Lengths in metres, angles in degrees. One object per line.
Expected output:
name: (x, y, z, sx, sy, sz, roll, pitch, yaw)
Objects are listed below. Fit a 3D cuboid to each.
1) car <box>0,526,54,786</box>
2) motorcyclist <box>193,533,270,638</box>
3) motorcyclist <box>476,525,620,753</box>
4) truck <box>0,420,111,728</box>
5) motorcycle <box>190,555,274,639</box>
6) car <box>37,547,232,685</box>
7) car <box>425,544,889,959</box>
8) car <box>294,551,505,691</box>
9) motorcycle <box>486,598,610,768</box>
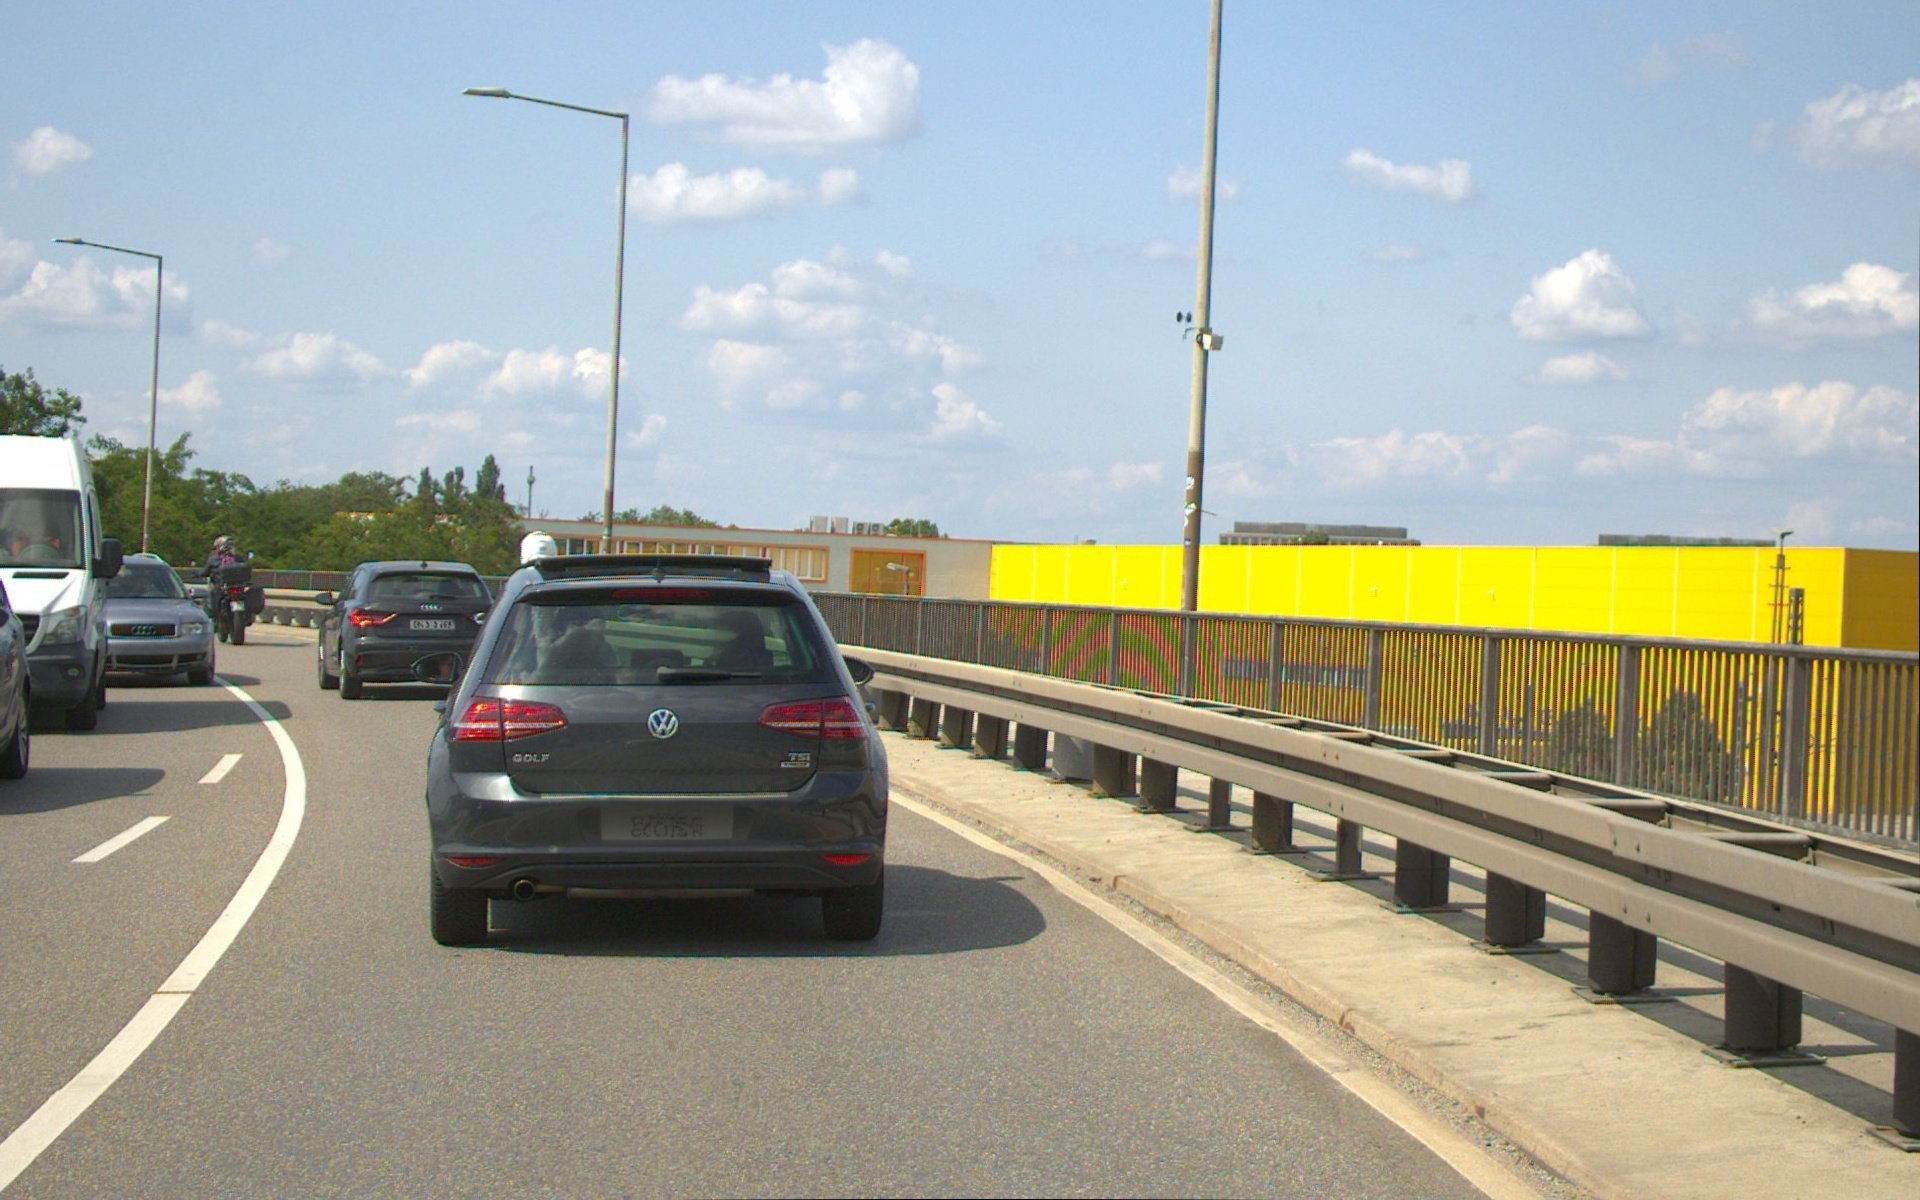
car: (-6.841, 0.351, 21.323, 1.717, 1.626, 4.429, 0, 1, -6)
motorcyclist: (-11.263, -0.231, 53.145, 0.965, 1.590, 1.125, 1, 1, -21)
motorcyclist: (-3.028, 0.275, 25.185, 0.965, 1.615, 1.125, 1, 1, -9)
truck: (-8.645, -0.263, 30.739, 1.993, 2.499, 5.949, 0, 1, -14)
motorcycle: (-11.258, -0.060, 53.102, 0.887, 1.243, 2.400, 1, 1, -21)
car: (-9.457, 0.143, 39.177, 1.766, 1.455, 4.299, -1, 1, -19)
car: (-1.221, 0.535, 14.311, 1.642, 1.474, 3.873, 1, 0, -4)
car: (-5.939, 0.220, 36.132, 1.681, 1.383, 3.740, 0, 0, -17)
motorcycle: (-3.020, 0.575, 25.019, 0.789, 1.128, 2.400, 1, 1, -9)
